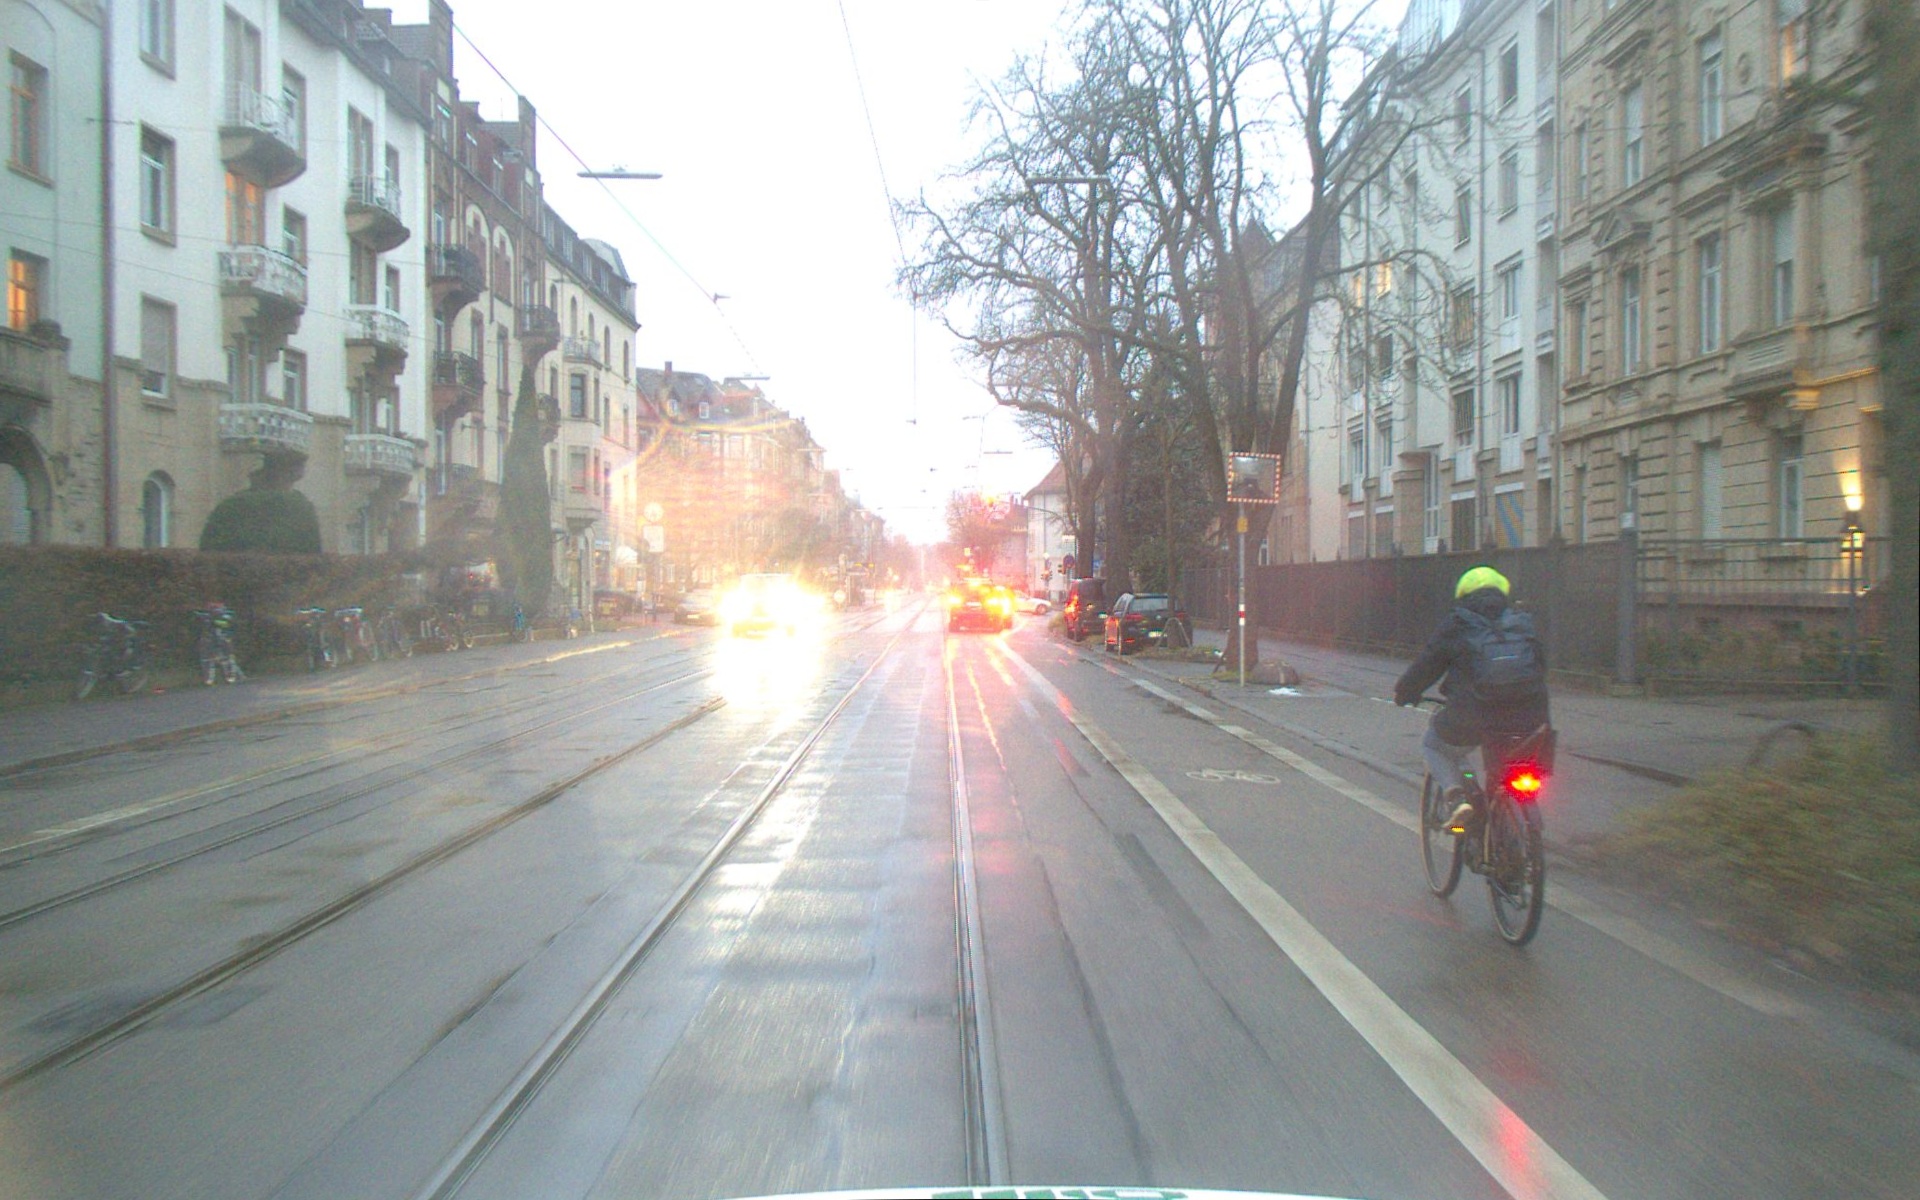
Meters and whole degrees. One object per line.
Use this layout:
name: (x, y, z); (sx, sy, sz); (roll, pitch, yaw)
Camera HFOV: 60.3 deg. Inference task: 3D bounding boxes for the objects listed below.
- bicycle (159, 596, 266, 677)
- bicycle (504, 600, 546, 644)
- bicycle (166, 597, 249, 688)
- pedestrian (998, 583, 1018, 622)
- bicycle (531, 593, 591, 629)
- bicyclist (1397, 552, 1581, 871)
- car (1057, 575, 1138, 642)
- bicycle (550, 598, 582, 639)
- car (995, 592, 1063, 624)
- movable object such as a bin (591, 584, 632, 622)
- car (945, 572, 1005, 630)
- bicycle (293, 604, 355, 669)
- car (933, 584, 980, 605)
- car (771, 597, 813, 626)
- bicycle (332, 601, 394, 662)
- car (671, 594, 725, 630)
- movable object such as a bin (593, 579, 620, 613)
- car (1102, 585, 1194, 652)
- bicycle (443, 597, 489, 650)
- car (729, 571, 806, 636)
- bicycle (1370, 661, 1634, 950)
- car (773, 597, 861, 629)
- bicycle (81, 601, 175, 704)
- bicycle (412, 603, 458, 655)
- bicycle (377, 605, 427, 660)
bicycle: (-12.411, 0.613, 27.477); (1.556, 1.286, 0.490); (-1, -4, 3)
bicycle: (-10.948, 0.541, 41.667); (0.613, 1.035, 1.805); (-1, 1, -2)
bicycle: (-10.885, 0.595, 23.971); (0.679, 1.233, 1.593); (-1, 1, -10)
pedestrian: (2.556, 0.128, 88.156); (1.002, 2.048, 0.918); (-1, 1, -4)
bicycle: (-12.799, 0.359, 53.065); (1.771, 1.099, 0.615); (-1, 1, -8)
bicyclist: (2.559, 0.509, 8.081); (0.642, 1.471, 0.850); (-1, 1, 2)
car: (4.210, 0.220, 51.408); (1.953, 1.933, 5.026); (-1, 1, -2)
bicycle: (-11.097, 0.500, 46.597); (0.602, 1.099, 1.809); (-1, 1, -5)
car: (4.038, 0.472, 97.053); (3.905, 1.758, 1.740); (-1, 1, 1)
movable object such as a bin: (-14.402, 0.117, 68.372); (1.380, 1.557, 1.365); (-1, 1, -1)
car: (0.482, 0.049, 58.852); (1.953, 1.930, 4.757); (1, -1, -2)
bicycle: (-10.893, 0.643, 28.365); (0.679, 1.049, 1.591); (-1, -3, -10)
car: (-0.308, -0.509, 145.989); (3.913, 1.747, 1.900); (-1, 1, -9)
car: (-7.668, 0.503, 75.690); (1.627, 1.219, 3.873); (-1, 1, -2)
bicycle: (-10.915, 0.597, 30.295); (0.679, 1.049, 1.594); (-1, -3, -6)
car: (-11.688, 0.519, 73.972); (1.796, 1.472, 4.000); (-1, 1, -1)
movable object such as a bin: (-16.941, -0.191, 79.327); (0.993, 1.628, 1.081); (-1, 1, 1)
car: (4.448, 0.408, 39.696); (1.643, 1.485, 4.041); (-1, 1, -2)
bicycle: (-10.913, 0.508, 36.613); (0.476, 1.118, 1.930); (-1, 1, -2)
car: (-6.110, 0.058, 52.992); (2.005, 1.955, 5.098); (-1, 1, -2)
bicycle: (2.575, 0.920, 8.107); (0.692, 1.116, 2.030); (-1, 1, 2)
car: (-8.272, 0.757, 96.042); (4.841, 1.747, 1.699); (-1, 1, 4)
bicycle: (-10.644, 0.647, 21.210); (0.618, 1.233, 1.593); (-1, 1, -10)
bicycle: (-10.892, 0.593, 34.323); (0.679, 1.049, 1.593); (-1, 0, -10)
bicycle: (-10.935, 0.637, 32.441); (0.679, 1.049, 1.593); (-1, -1, -10)
